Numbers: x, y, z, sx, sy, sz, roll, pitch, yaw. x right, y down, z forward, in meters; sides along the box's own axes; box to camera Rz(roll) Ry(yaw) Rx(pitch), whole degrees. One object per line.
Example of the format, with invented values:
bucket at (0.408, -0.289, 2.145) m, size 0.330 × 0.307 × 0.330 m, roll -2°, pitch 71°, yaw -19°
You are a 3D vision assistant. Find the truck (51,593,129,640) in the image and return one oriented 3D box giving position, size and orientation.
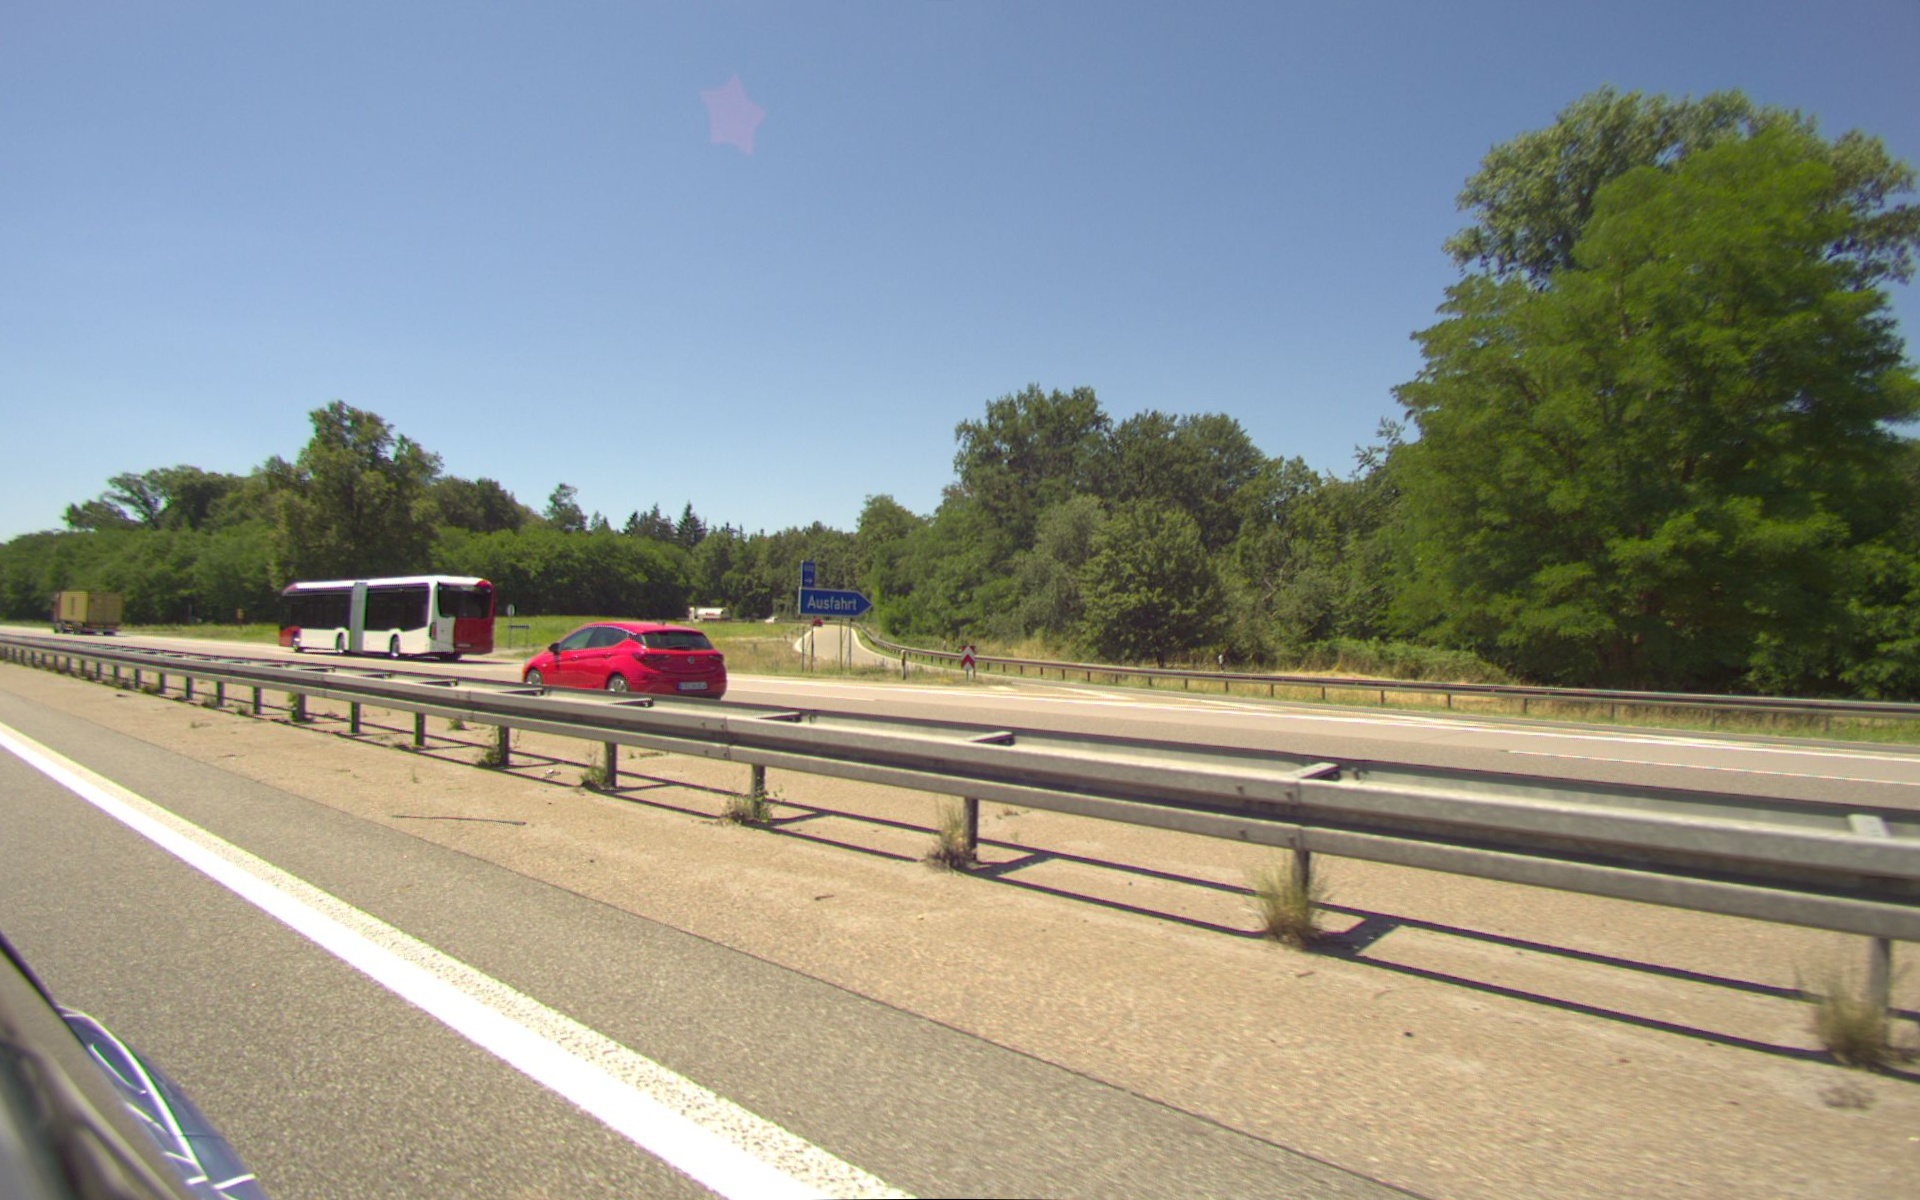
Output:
truck at (-77.637, 1.457, 90.126) m, size 15.614 × 3.905 × 3.051 m, roll -1°, pitch 0°, yaw 41°

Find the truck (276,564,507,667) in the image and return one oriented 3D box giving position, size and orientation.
truck at (-25.870, 0.709, 45.170) m, size 17.534 × 3.905 × 3.052 m, roll -1°, pitch -2°, yaw 40°

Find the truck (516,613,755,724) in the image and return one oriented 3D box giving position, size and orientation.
truck at (-5.403, 1.023, 16.588) m, size 4.308 × 1.575 × 1.811 m, roll -1°, pitch -2°, yaw 42°
